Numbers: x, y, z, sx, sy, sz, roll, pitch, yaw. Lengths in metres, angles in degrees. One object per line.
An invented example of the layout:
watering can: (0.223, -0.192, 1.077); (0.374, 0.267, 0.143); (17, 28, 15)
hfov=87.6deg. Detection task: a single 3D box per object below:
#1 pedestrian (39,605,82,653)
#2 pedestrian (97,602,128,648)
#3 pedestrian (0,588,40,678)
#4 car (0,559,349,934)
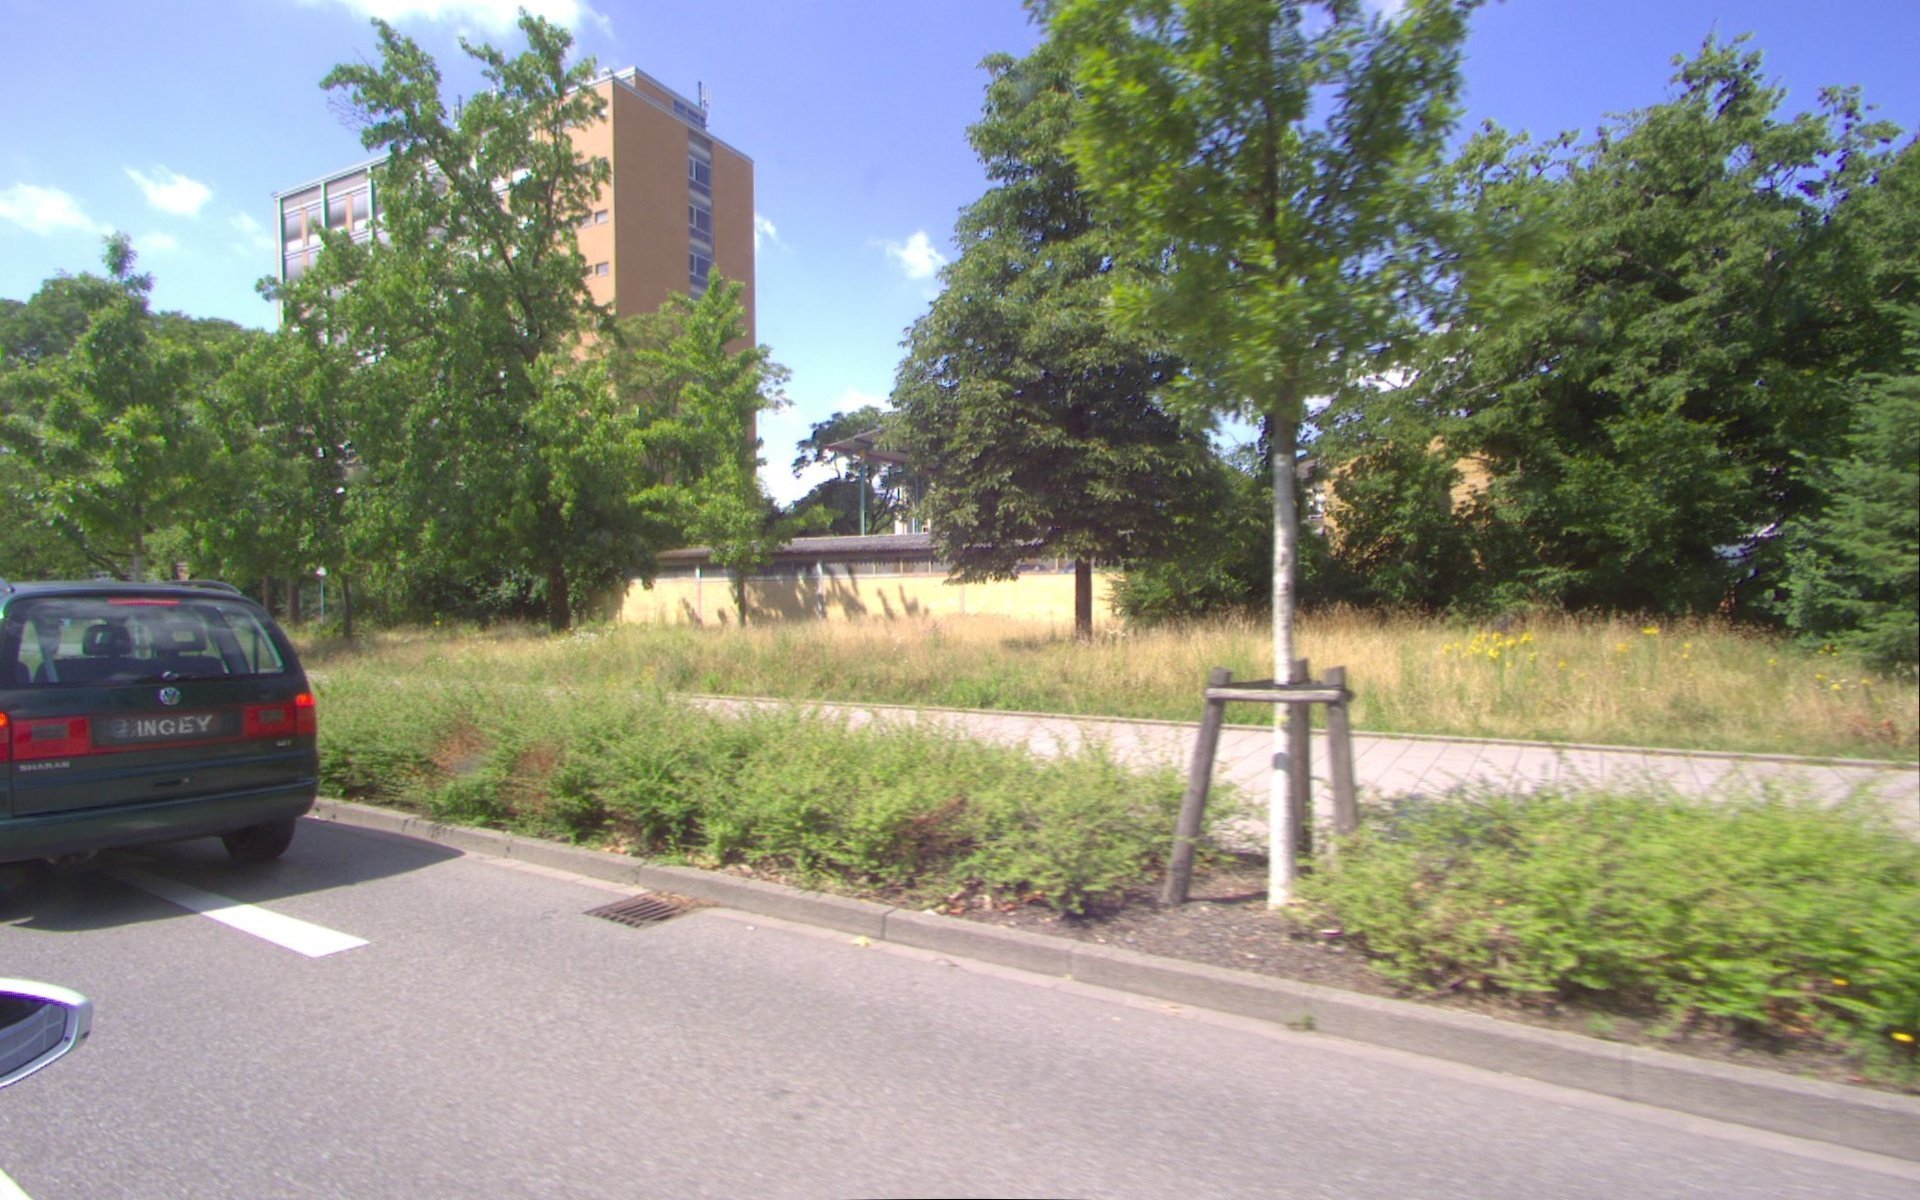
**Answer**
pedestrian: (-29.700, 0.946, 33.062); (0.823, 1.559, 0.843); (0, 0, 32)
pedestrian: (-38.275, 1.128, 45.226); (0.832, 2.085, 0.740); (0, 1, 16)
pedestrian: (-20.730, 0.702, 21.743); (0.762, 1.917, 0.948); (0, 0, 32)
car: (-5.972, 0.709, 6.404); (4.325, 1.757, 1.809); (0, -1, 32)
